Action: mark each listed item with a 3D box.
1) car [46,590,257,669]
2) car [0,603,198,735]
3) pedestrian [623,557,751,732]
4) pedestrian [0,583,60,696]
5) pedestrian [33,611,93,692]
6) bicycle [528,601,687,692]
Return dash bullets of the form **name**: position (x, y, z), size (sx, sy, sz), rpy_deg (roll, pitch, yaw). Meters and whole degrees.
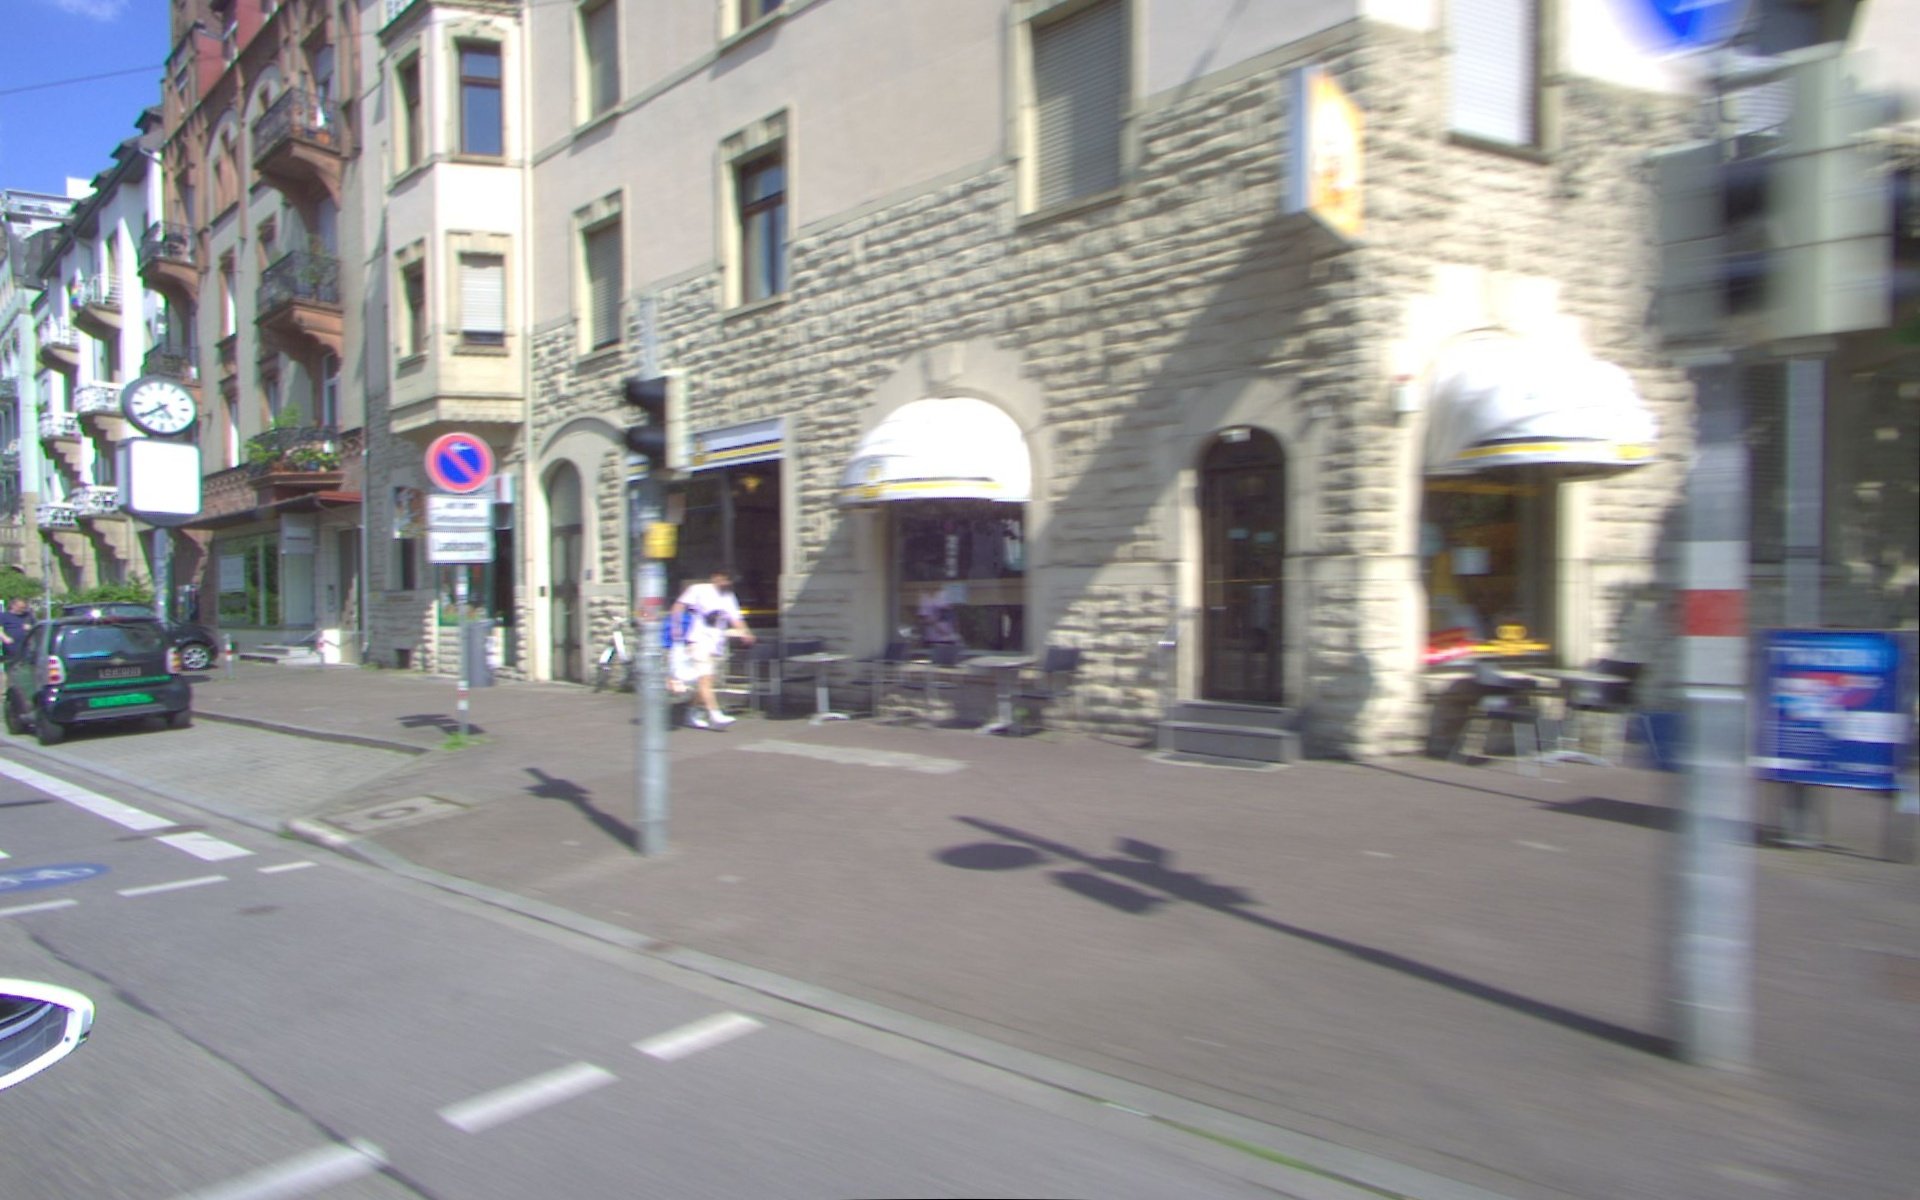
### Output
- **car**: position (-18.092, 0.607, 22.480), size (1.950, 1.544, 3.382), rpy_deg (0, 2, 42)
- **car**: position (-11.579, 0.834, 13.389), size (2.759, 1.519, 1.507), rpy_deg (0, 3, 38)
- **pedestrian**: position (-2.973, 0.444, 10.926), size (0.840, 1.793, 1.005), rpy_deg (1, 4, 41)
- **pedestrian**: position (-16.240, 0.668, 17.321), size (0.861, 1.868, 0.657), rpy_deg (0, 4, 32)
- **pedestrian**: position (-15.745, 0.892, 17.578), size (0.436, 1.345, 0.568), rpy_deg (0, 5, 32)
- **bicycle**: position (-5.111, 0.649, 14.411), size (2.717, 1.192, 0.802), rpy_deg (-1, -2, 37)
